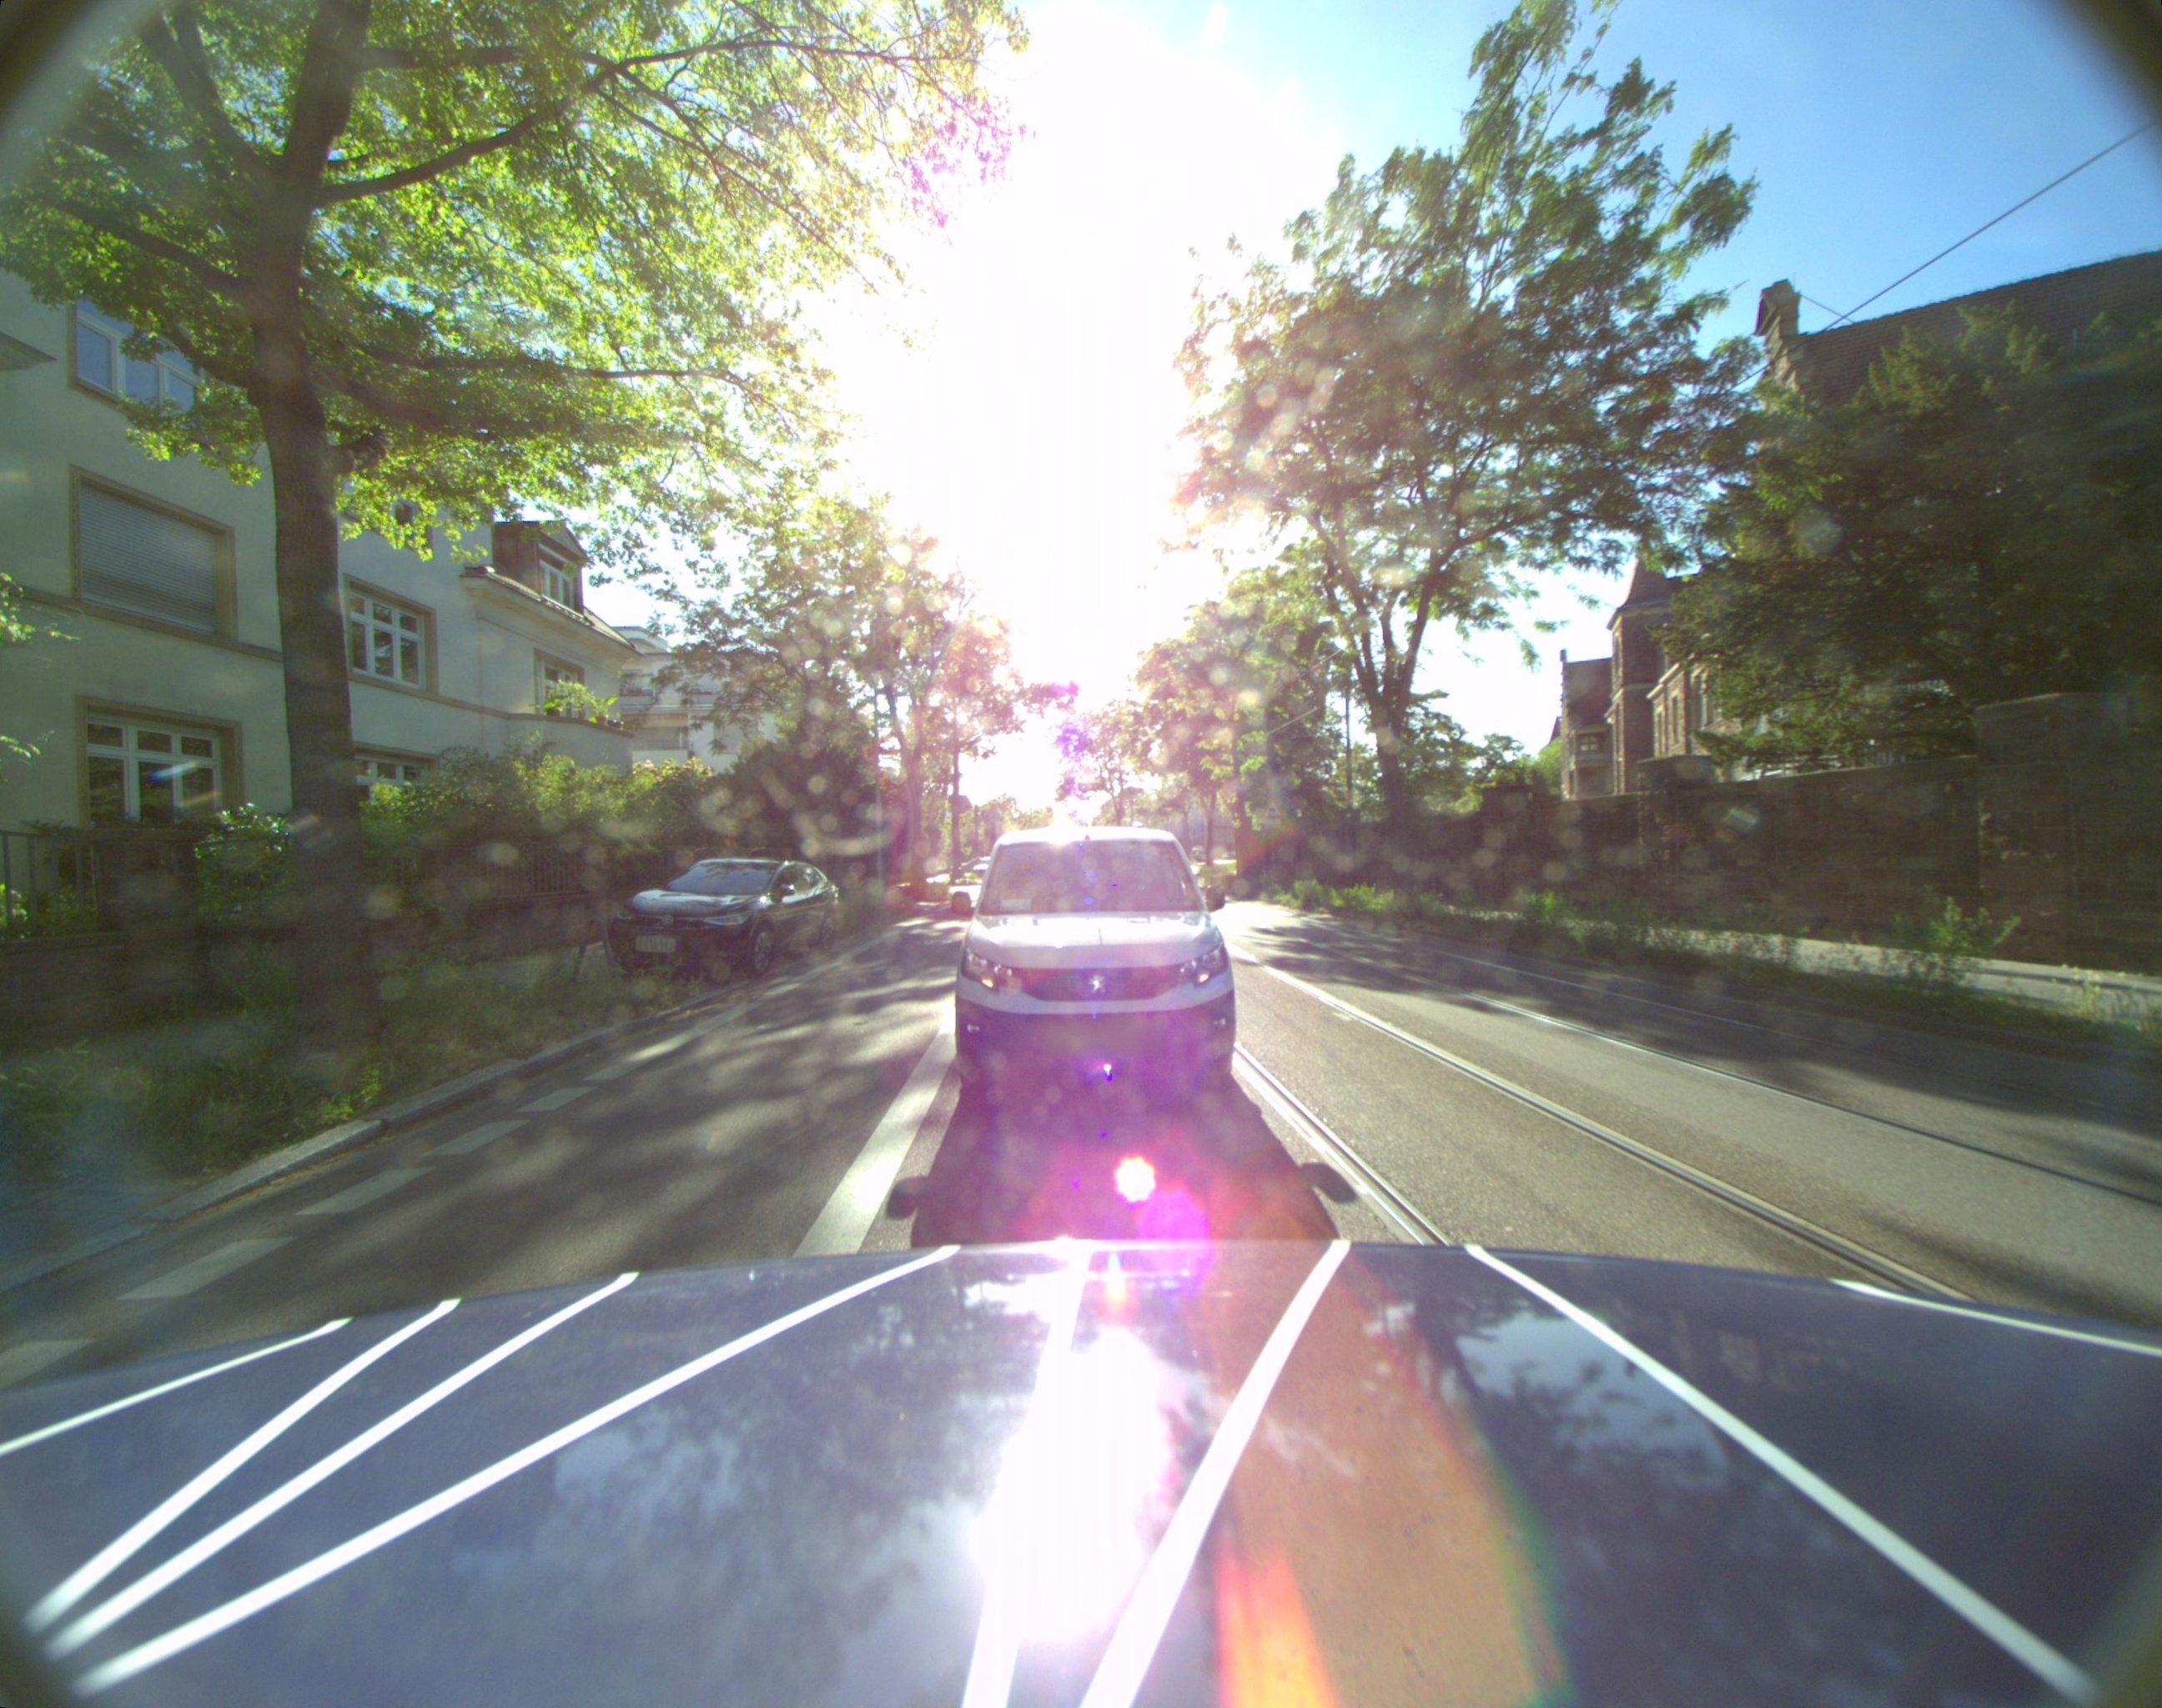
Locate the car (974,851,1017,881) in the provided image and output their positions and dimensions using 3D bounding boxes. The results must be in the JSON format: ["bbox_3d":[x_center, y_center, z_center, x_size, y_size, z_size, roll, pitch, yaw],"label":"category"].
[{"bbox_3d":[-5.036,0.667,45.330,1.823,1.630,4.001,-2,0,4],"label":"car"}]

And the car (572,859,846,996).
[{"bbox_3d":[-5.251,0.940,11.546,1.999,1.665,4.380,1,-1,0],"label":"car"}]

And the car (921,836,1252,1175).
[{"bbox_3d":[0.024,0.812,6.107,1.768,1.812,3.999,-1,0,0],"label":"car"}]

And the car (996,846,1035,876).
[{"bbox_3d":[-4.415,0.448,52.047,2.129,1.884,4.746,-2,0,1],"label":"car"}]
